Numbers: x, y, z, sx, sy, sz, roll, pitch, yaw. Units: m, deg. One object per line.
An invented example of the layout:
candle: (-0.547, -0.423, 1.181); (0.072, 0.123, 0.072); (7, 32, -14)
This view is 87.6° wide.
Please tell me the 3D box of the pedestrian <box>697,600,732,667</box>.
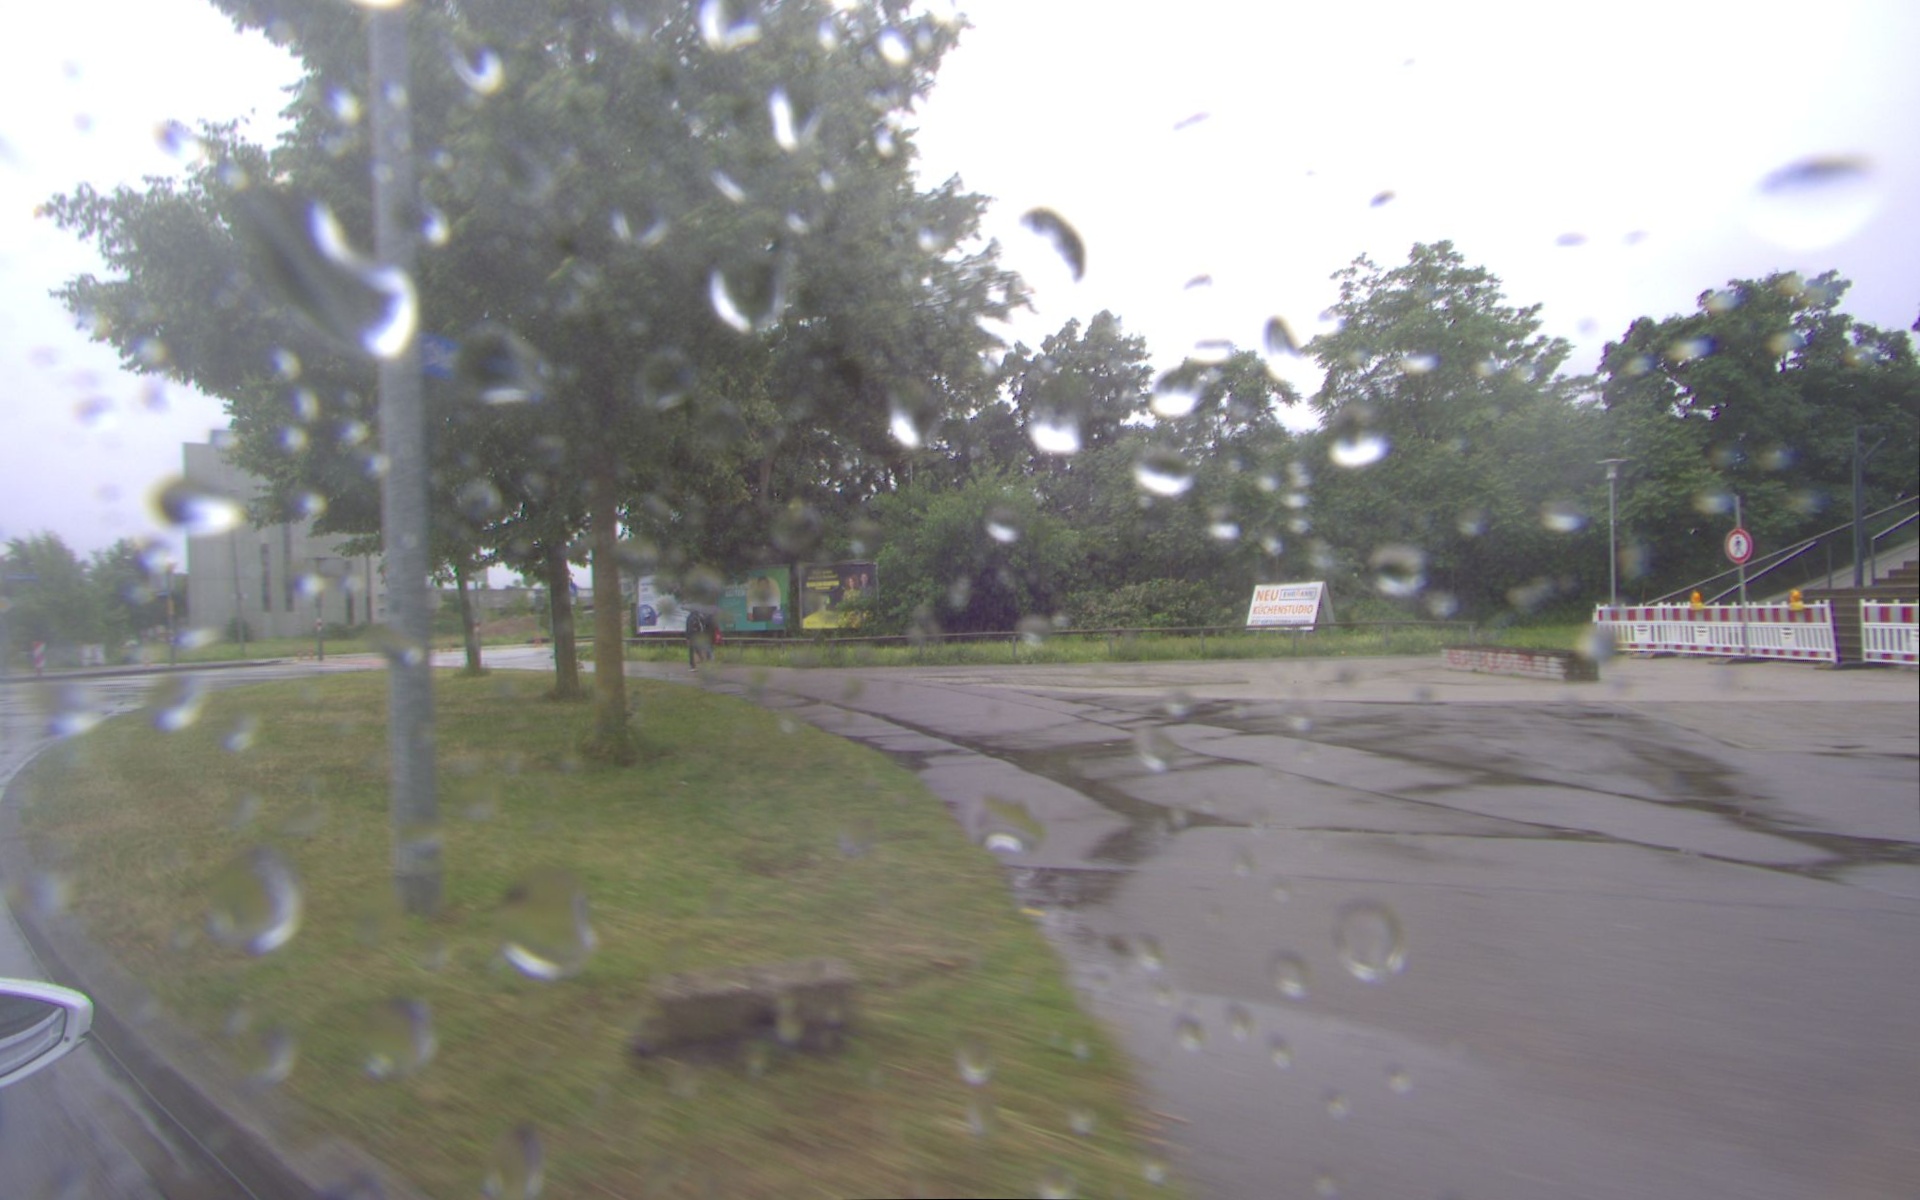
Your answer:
pedestrian: (-6.776, 0.924, 27.569); (0.907, 1.806, 0.807); (0, -2, -16)

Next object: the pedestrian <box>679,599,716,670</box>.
pedestrian: (-6.860, 0.907, 26.184); (0.907, 1.806, 0.807); (0, -2, -16)
